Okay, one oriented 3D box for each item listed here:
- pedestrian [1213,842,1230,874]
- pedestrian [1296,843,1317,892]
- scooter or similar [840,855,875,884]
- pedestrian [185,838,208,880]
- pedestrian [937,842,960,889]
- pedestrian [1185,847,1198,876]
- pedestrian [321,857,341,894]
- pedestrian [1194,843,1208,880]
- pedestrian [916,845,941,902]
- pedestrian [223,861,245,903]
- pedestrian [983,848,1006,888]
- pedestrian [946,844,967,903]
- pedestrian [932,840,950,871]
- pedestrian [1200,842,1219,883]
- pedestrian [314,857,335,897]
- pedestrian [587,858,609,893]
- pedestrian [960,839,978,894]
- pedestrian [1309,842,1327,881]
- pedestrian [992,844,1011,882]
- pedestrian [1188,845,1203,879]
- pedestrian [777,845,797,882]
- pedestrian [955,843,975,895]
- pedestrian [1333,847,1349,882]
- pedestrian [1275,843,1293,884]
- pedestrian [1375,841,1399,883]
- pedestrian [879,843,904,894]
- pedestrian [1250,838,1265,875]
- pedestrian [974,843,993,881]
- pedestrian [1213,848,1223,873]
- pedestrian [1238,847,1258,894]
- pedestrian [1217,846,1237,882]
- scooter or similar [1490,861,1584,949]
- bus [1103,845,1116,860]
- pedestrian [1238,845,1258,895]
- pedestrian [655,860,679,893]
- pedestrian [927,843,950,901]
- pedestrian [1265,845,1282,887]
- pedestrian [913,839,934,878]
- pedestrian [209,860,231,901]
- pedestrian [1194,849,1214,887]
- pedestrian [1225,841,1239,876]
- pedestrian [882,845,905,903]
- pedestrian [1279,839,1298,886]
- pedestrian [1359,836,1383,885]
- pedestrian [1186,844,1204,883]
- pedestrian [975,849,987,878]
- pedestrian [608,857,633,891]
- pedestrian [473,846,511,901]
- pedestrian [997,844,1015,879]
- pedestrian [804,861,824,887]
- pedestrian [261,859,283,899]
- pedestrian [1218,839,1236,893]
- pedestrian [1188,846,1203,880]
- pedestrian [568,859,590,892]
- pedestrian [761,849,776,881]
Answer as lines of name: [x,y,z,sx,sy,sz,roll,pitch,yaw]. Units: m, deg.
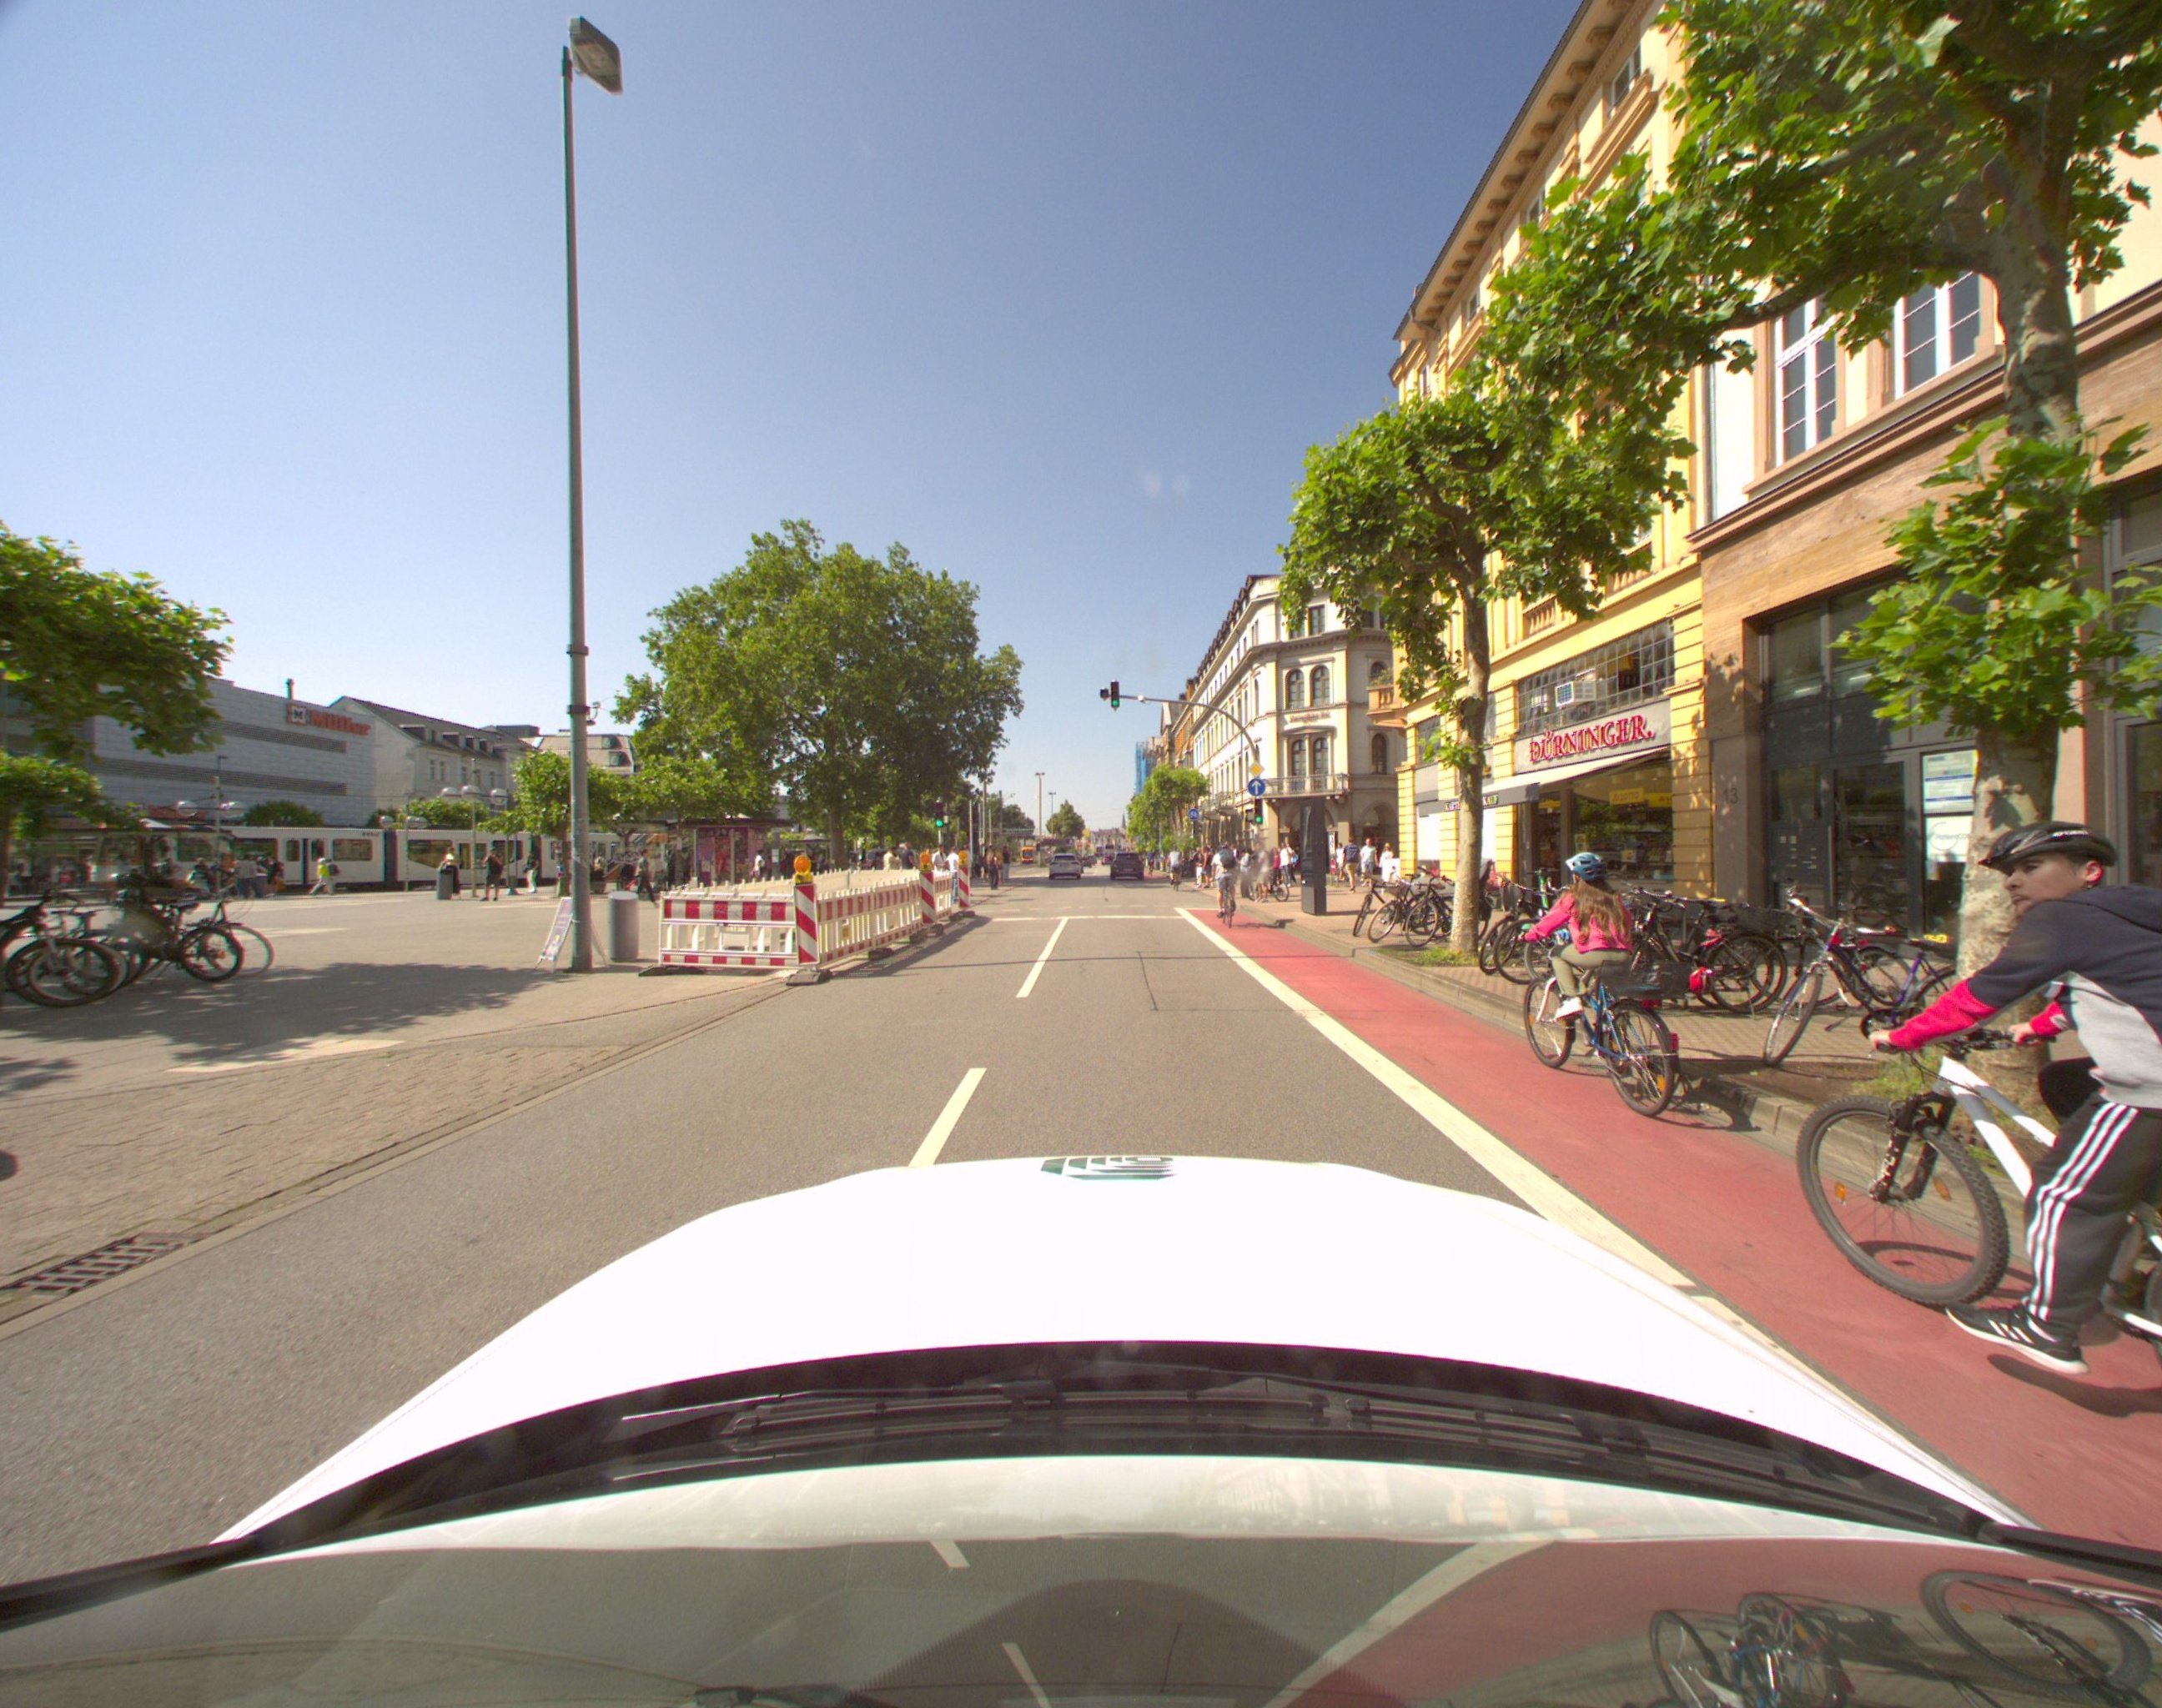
pedestrian: [7.530,0.199,43.663,0.613,1.705,0.672,-2,0,-27]
pedestrian: [7.834,0.463,28.287,0.546,1.640,0.589,-2,-1,4]
scooter or similar: [-11.035,0.763,40.222,1.264,1.421,1.045,-1,0,32]
pedestrian: [-37.426,0.198,34.461,0.737,1.749,0.610,-1,0,40]
pedestrian: [-5.306,0.450,32.745,0.627,1.859,0.690,-1,-1,22]
pedestrian: [6.261,0.400,46.161,0.525,1.594,0.615,-1,3,28]
pedestrian: [-35.959,1.007,39.034,0.793,1.749,0.610,-1,0,40]
pedestrian: [5.932,0.370,40.321,0.608,1.823,0.677,0,-1,0]
pedestrian: [-4.637,0.593,24.776,0.543,1.718,0.600,1,-1,-30]
pedestrian: [-36.211,1.177,34.816,0.737,1.749,0.610,-1,0,40]
pedestrian: [-3.463,0.545,32.626,0.627,1.595,0.690,-1,-1,22]
pedestrian: [-3.761,0.578,24.555,0.431,1.740,0.600,1,-1,-29]
pedestrian: [-7.900,0.086,45.977,0.671,1.764,0.771,-1,-1,31]
pedestrian: [5.697,0.385,36.157,0.608,1.759,0.677,-5,-1,0]
pedestrian: [-33.739,1.022,36.312,0.737,1.749,0.610,-1,0,40]
pedestrian: [-18.072,0.802,30.490,0.611,1.262,0.609,0,0,-20]
pedestrian: [-3.972,0.436,28.858,0.529,1.919,0.560,-1,-1,3]
pedestrian: [11.250,0.356,38.687,0.608,1.807,0.677,0,-1,0]
pedestrian: [-3.832,0.415,39.167,0.627,1.794,0.735,-1,-1,22]
pedestrian: [5.983,0.424,42.410,0.581,1.700,0.605,-4,-1,0]
pedestrian: [-14.563,0.464,40.367,0.627,1.810,0.618,-4,-2,21]
pedestrian: [-4.009,0.508,28.196,0.573,1.758,0.639,-1,-1,3]
pedestrian: [12.187,0.493,38.239,0.538,1.633,0.677,0,-1,0]
pedestrian: [8.276,0.388,33.221,0.521,1.609,0.642,-2,-1,2]
pedestrian: [11.422,0.295,30.404,0.554,1.569,0.581,-1,-1,-43]
pedestrian: [-6.584,0.498,28.329,0.581,1.721,0.790,-1,2,3]
pedestrian: [8.805,0.110,40.684,0.608,1.823,0.677,0,-1,0]
pedestrian: [-4.897,0.393,40.905,0.626,1.859,0.735,-1,-1,31]
pedestrian: [9.624,0.451,57.137,0.626,1.791,0.612,-1,0,1]
pedestrian: [5.466,0.541,26.692,0.520,1.521,0.642,-2,-1,5]
pedestrian: [7.637,0.508,42.521,0.608,1.806,0.677,-11,0,0]
scooter or similar: [6.562,0.702,11.778,0.422,1.178,1.224,0,0,-19]
bus: [6.944,-0.323,201.852,2.984,3.594,11.746,-1,0,1]
pedestrian: [5.611,0.530,27.399,0.546,1.631,0.589,-2,-1,4]
pedestrian: [-16.249,0.881,31.968,0.605,1.262,0.615,-1,0,28]
pedestrian: [-4.467,0.551,25.532,0.536,1.779,0.607,1,-1,7]
pedestrian: [7.691,0.478,32.560,0.521,1.611,0.642,-2,-1,2]
pedestrian: [-7.335,0.210,37.872,0.627,1.810,0.735,-1,-1,22]
pedestrian: [-37.337,1.149,35.330,0.737,1.749,0.610,-1,0,40]
pedestrian: [5.193,0.584,34.423,0.608,1.515,0.677,-5,-1,0]
pedestrian: [7.750,0.236,41.790,0.608,1.807,0.677,0,-1,0]
pedestrian: [-6.263,0.654,27.211,0.573,1.891,0.654,1,-1,3]
pedestrian: [8.187,0.349,32.112,0.521,1.823,0.642,-2,-1,2]
pedestrian: [10.863,0.237,30.508,0.554,1.801,0.581,-1,-1,-43]
pedestrian: [5.256,0.449,37.562,0.608,1.739,0.677,-5,-1,0]
pedestrian: [-5.835,0.561,47.741,0.608,1.725,0.677,0,-1,0]
pedestrian: [-17.265,0.733,30.541,0.605,1.262,0.615,-1,0,37]
pedestrian: [-18.853,0.611,26.071,0.598,1.749,0.809,0,-1,33]
pedestrian: [-3.930,0.407,42.756,0.626,1.834,0.735,-1,-1,31]
pedestrian: [-13.396,0.982,40.922,0.627,1.293,0.735,-1,-1,22]
pedestrian: [-36.429,1.112,36.673,0.737,1.749,0.610,-1,0,40]
pedestrian: [5.253,0.420,29.259,0.520,1.898,0.642,-2,-1,5]
pedestrian: [5.872,0.447,41.738,0.581,1.673,0.605,-4,-1,0]
pedestrian: [-19.260,0.813,31.246,0.616,1.262,0.604,0,0,-43]
pedestrian: [-15.886,0.577,41.398,0.494,1.603,0.501,-3,-1,21]
